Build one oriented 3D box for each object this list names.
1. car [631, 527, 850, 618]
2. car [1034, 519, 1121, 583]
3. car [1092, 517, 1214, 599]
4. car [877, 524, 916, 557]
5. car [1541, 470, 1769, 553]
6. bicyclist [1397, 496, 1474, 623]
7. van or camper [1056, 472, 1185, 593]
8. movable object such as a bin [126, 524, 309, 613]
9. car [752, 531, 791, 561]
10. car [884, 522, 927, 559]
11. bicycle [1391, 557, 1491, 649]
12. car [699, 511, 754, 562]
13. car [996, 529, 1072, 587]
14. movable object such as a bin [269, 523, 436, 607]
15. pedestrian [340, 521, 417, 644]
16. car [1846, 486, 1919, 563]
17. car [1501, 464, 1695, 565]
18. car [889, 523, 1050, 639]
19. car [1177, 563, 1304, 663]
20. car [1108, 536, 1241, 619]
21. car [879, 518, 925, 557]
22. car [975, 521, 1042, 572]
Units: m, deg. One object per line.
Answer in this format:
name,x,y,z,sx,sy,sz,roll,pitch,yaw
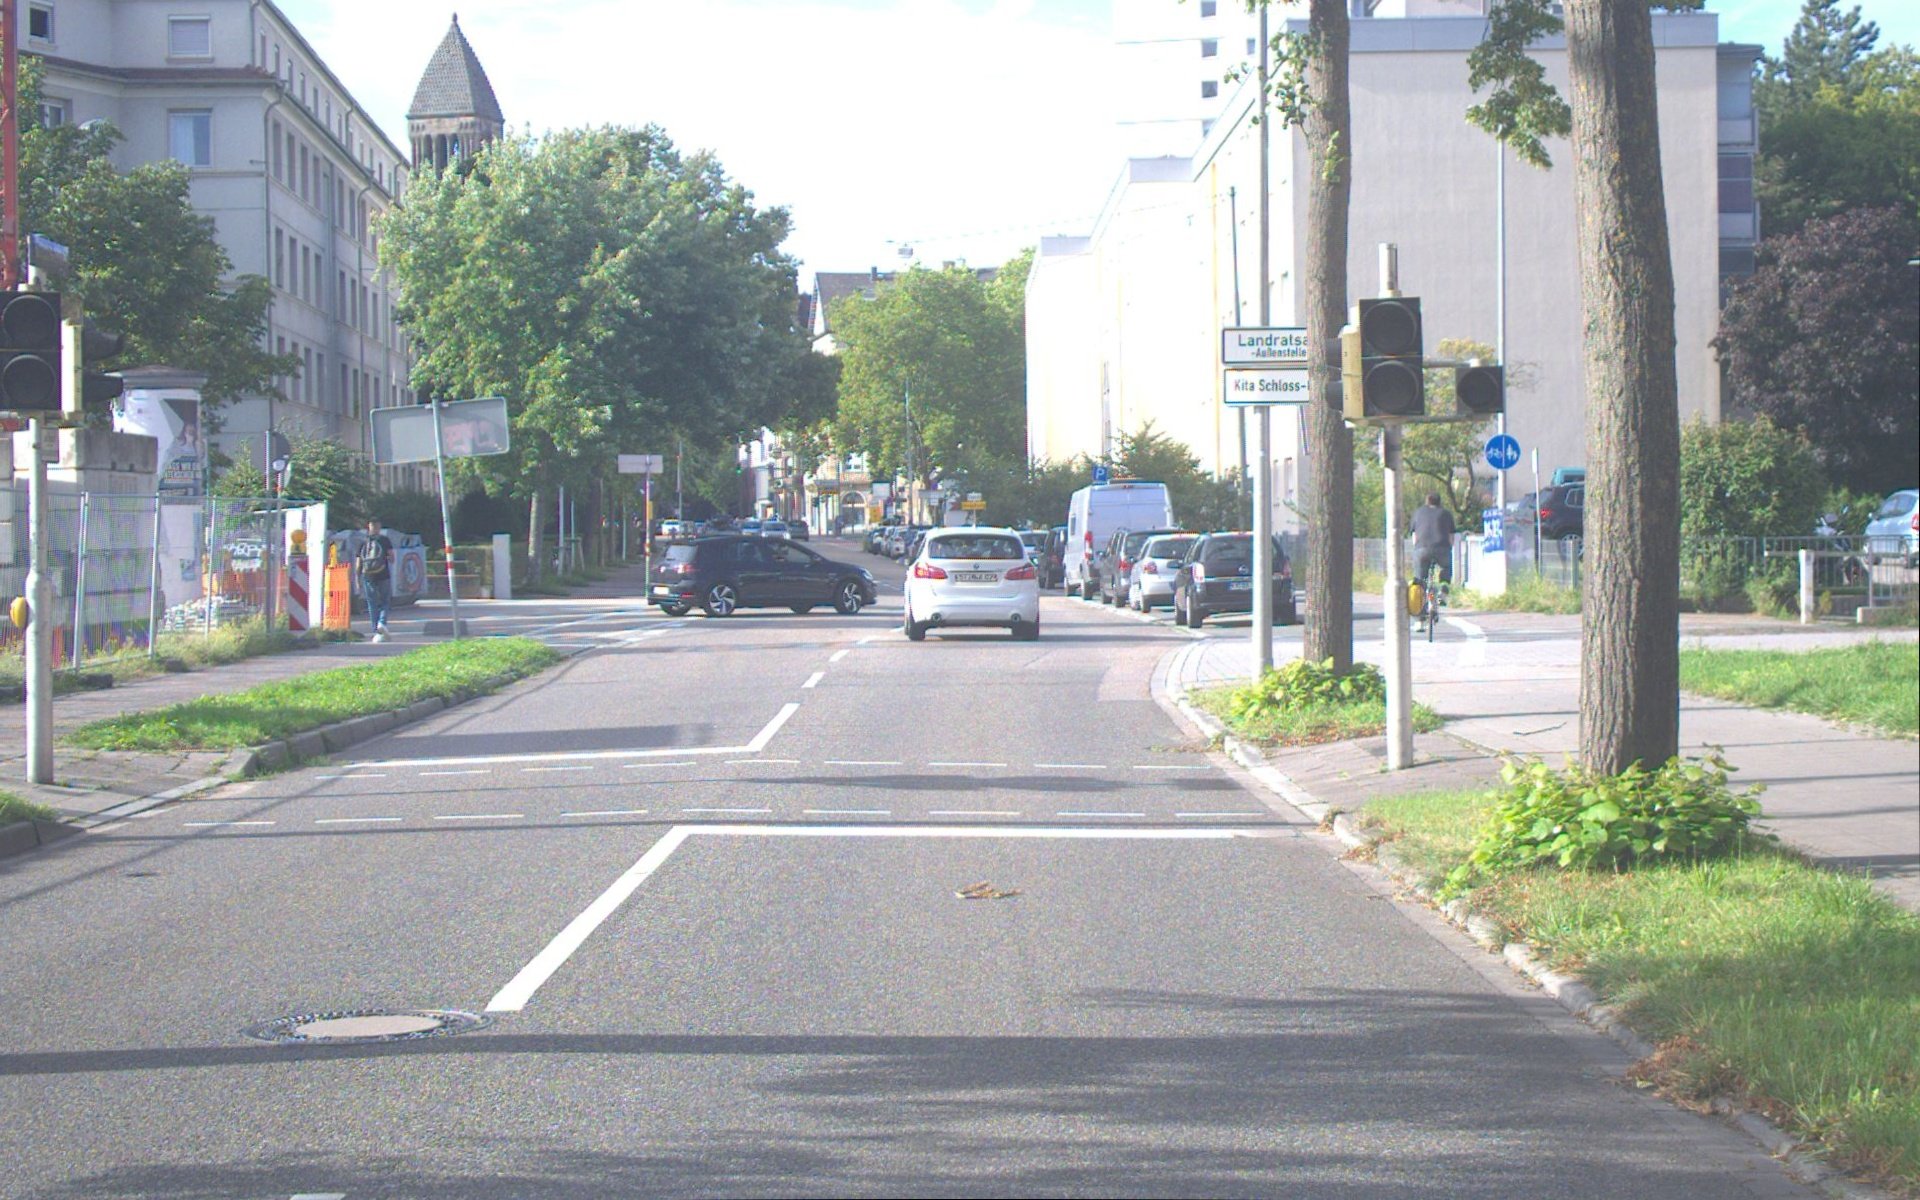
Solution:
car,-3.891,-0.521,61.472,1.997,1.565,3.993,1,1,31
car,3.022,-1.283,88.834,1.993,1.568,4.000,-2,1,-1
car,3.995,-0.898,71.870,1.993,1.610,4.409,-2,1,-3
car,-3.420,-3.237,186.211,1.993,1.749,4.000,0,1,0
car,14.693,-1.872,72.876,4.449,1.616,2.000,-2,1,4
bicyclist,5.843,-0.502,42.279,0.737,1.508,0.875,-3,1,-1
van or camper,3.582,-1.539,77.812,2.209,2.598,5.372,-2,1,-4
movable object such as a bin,-14.396,-0.625,66.699,3.105,1.702,1.546,0,1,15
car,-11.160,-3.221,203.583,2.055,1.658,3.927,-2,1,-7
car,-2.606,-2.851,165.427,1.993,1.749,4.000,0,1,0
bicycle,5.873,0.021,42.112,0.740,1.031,2.762,-3,1,-1
car,-9.567,-2.623,140.869,1.993,2.007,4.000,-2,1,-1
car,2.130,-1.230,99.495,1.993,1.568,4.000,-2,1,-1
movable object such as a bin,-12.535,-0.733,70.983,3.105,1.702,1.409,0,1,13
pedestrian,-8.272,-0.254,48.882,1.006,1.722,1.178,-1,0,-12
car,18.804,-1.497,66.685,1.993,1.437,4.001,-2,1,-3
car,14.643,-1.965,79.073,4.120,2.178,2.000,-2,1,3
car,0.090,-0.287,48.251,1.993,1.549,4.274,0,1,-3
car,4.429,0.177,54.827,1.717,1.491,4.268,-1,1,1
car,4.119,-0.457,66.715,2.015,1.470,4.803,-2,1,-3
car,-2.596,-2.827,155.397,1.993,1.749,4.000,0,1,0
car,1.569,-1.741,111.793,1.993,1.568,4.000,-2,1,-1
